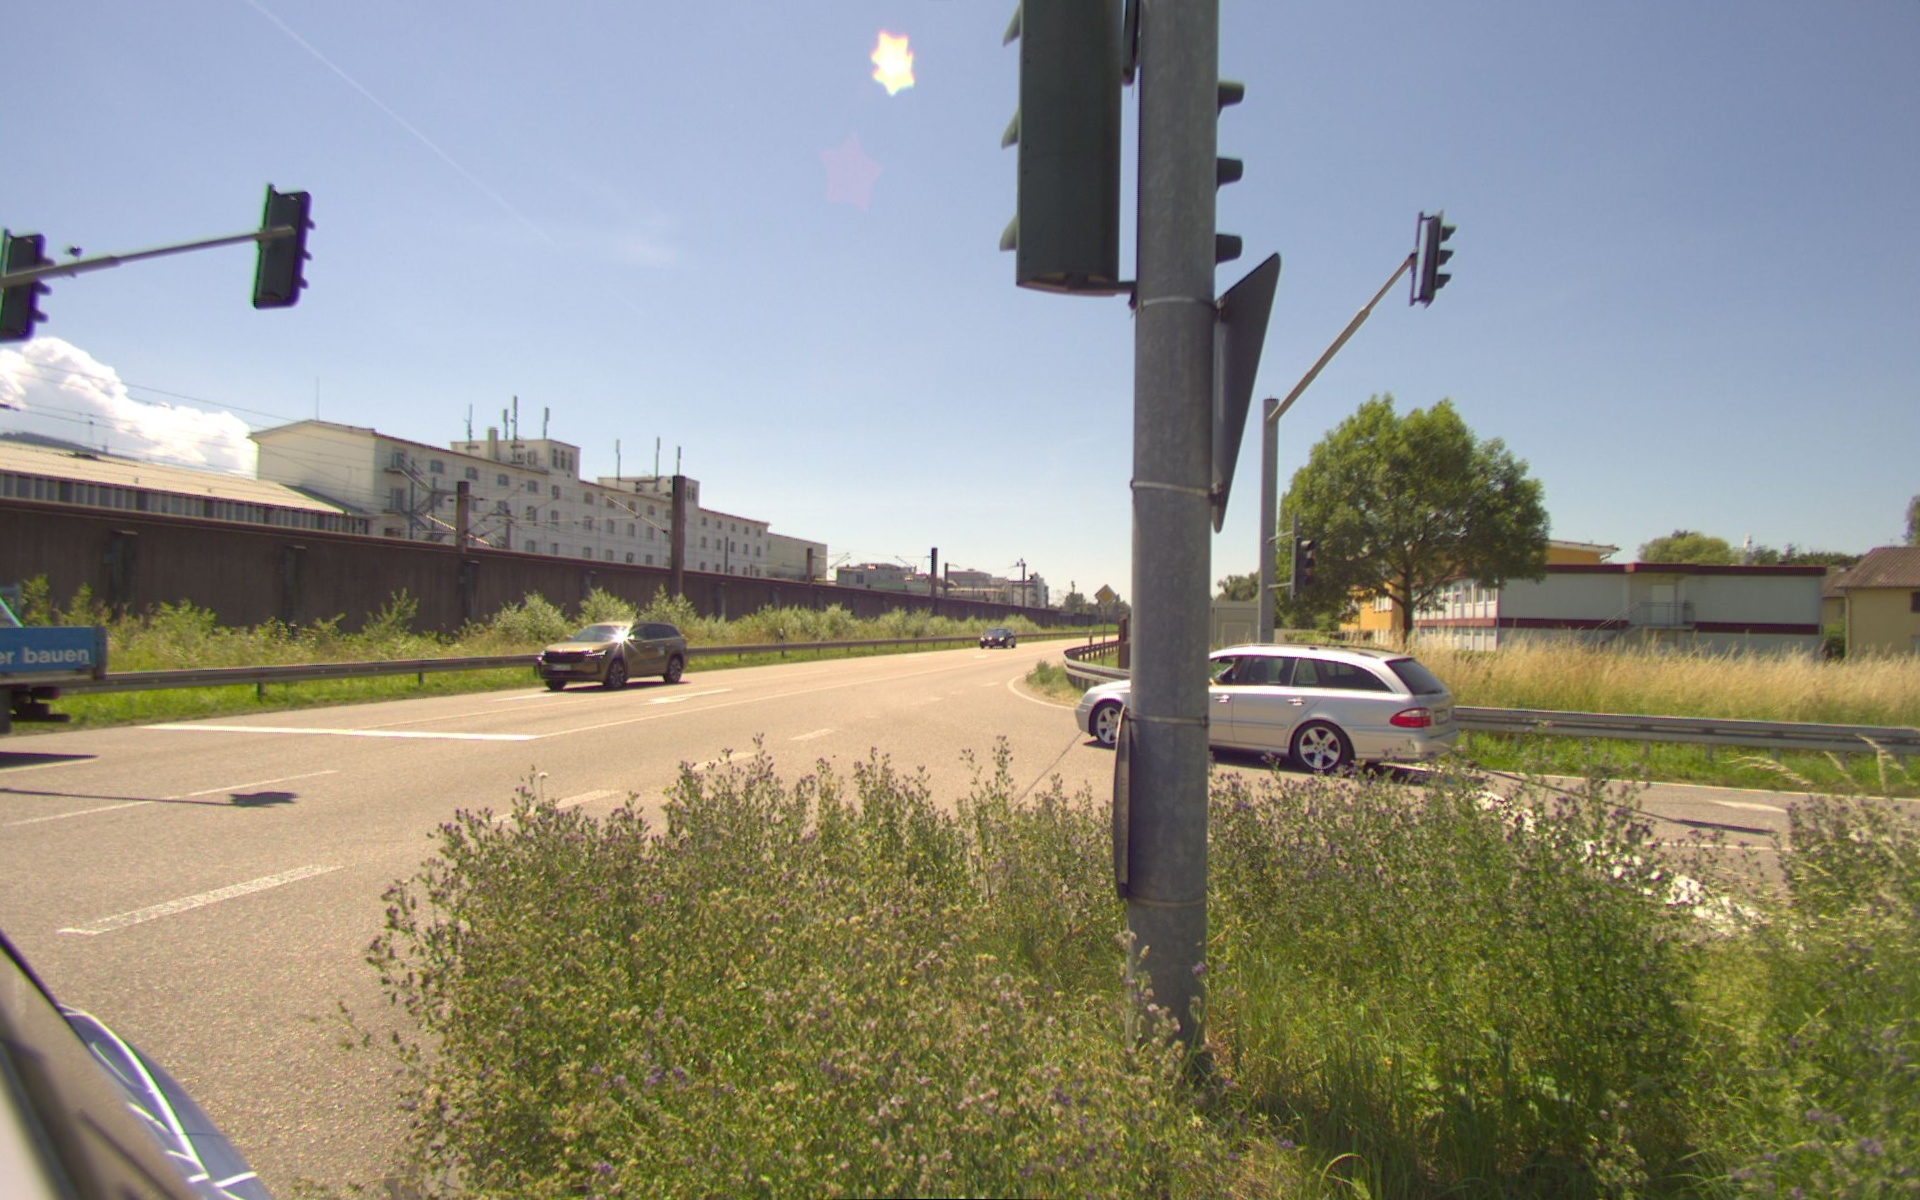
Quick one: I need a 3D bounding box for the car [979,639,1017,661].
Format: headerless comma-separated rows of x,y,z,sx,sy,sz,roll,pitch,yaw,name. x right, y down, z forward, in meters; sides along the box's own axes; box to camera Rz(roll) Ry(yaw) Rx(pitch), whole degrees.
2.659,3.433,70.266,1.771,1.465,4.498,0,-2,14,car

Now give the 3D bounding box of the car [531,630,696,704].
-8.558,1.625,25.485,1.689,1.639,4.602,1,-2,13,car

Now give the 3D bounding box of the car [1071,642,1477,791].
3.882,1.389,12.994,4.652,1.517,1.772,-1,-6,40,car

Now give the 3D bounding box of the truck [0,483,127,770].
-12.694,0.185,8.644,2.894,3.174,8.587,-1,-3,13,truck
